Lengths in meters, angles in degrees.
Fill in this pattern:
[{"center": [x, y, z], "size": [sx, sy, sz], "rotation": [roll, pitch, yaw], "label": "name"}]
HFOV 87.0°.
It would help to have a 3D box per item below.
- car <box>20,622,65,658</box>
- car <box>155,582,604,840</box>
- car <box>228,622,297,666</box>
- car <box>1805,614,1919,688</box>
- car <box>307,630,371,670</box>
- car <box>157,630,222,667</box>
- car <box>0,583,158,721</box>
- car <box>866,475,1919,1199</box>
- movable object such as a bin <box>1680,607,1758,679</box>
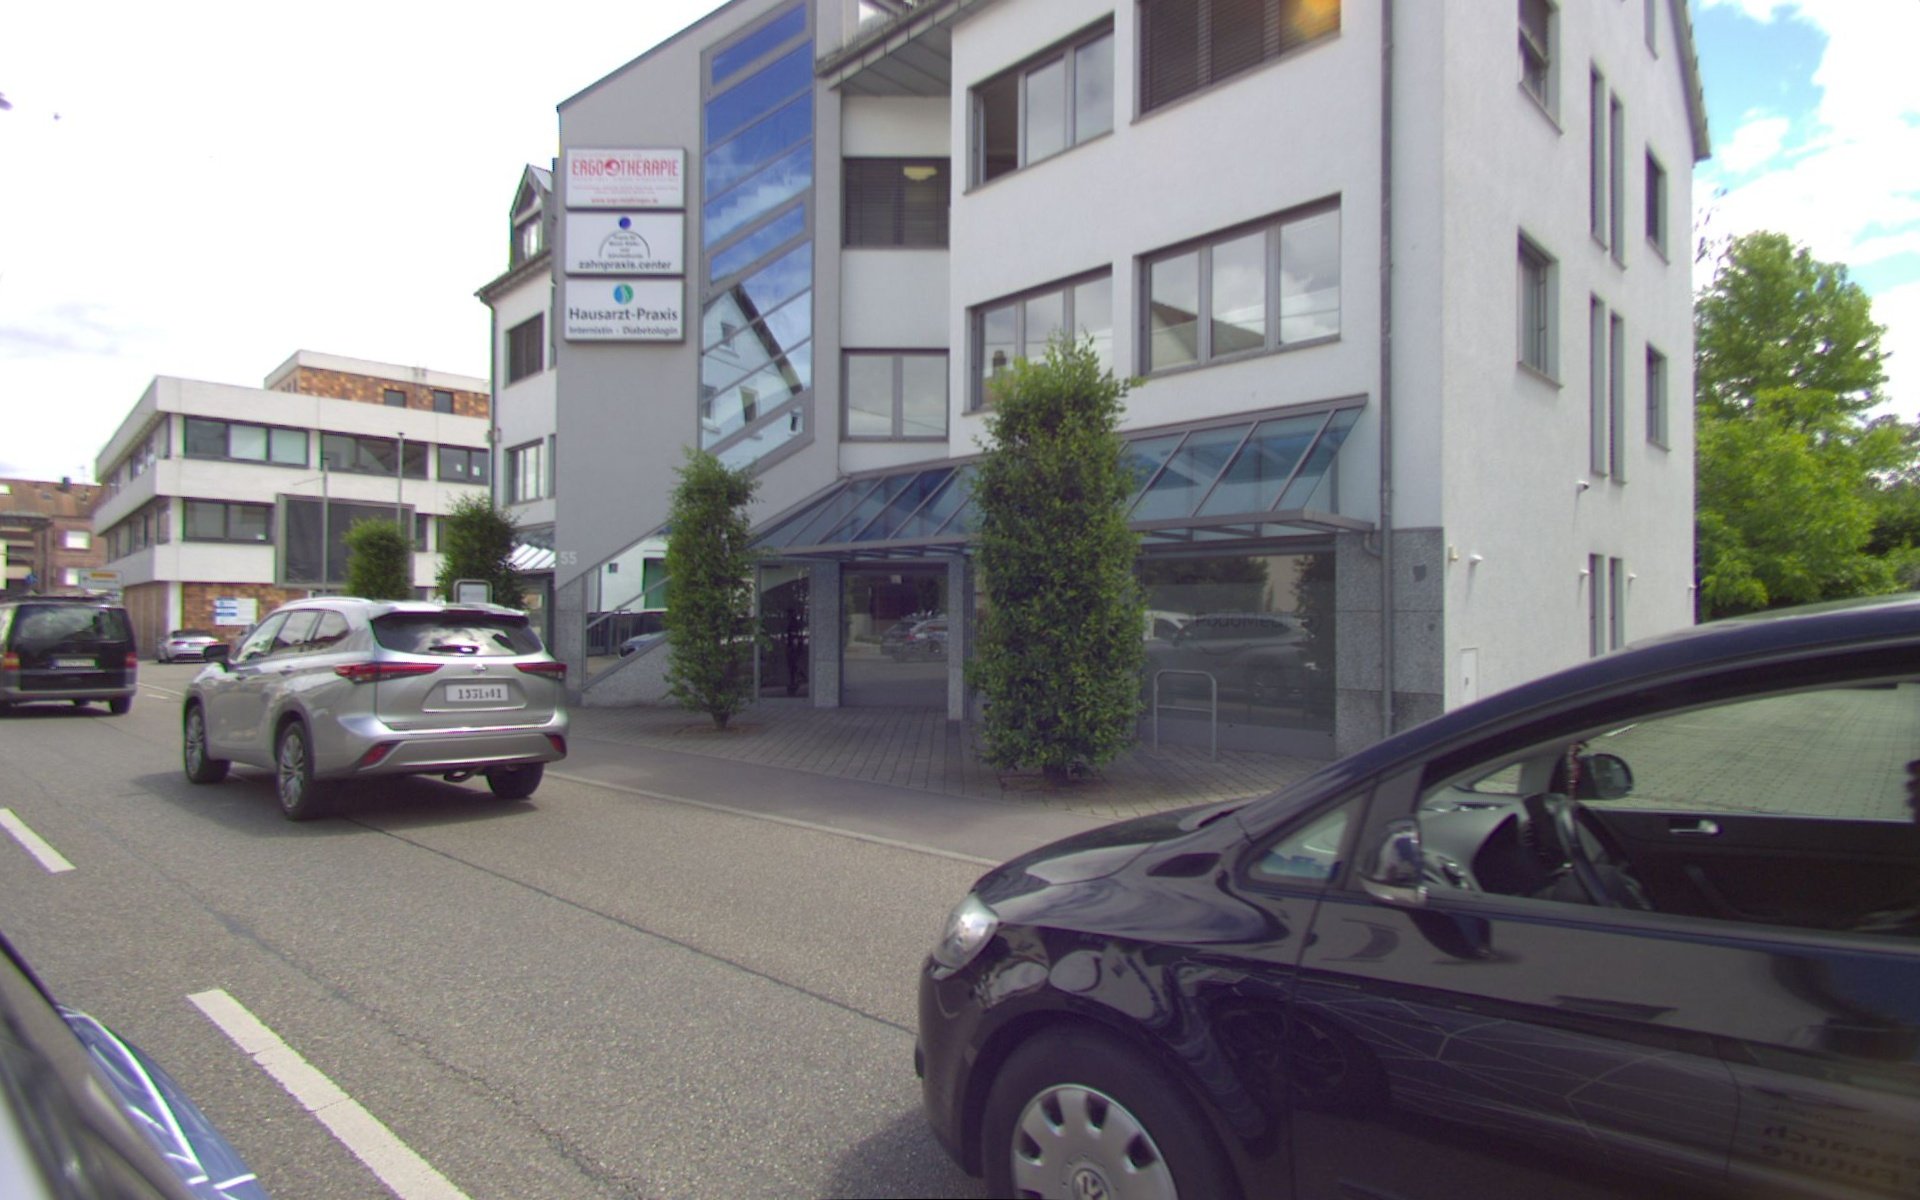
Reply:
[{"center": [-48.676, 2.083, 53.726], "size": [1.677, 1.790, 4.467], "rotation": [0, -1, -42], "label": "car"}, {"center": [-5.444, 0.841, 9.193], "size": [4.792, 1.751, 1.966], "rotation": [-1, -4, 40], "label": "car"}, {"center": [-29.655, 1.848, 42.977], "size": [1.870, 1.710, 3.806], "rotation": [4, -3, -42], "label": "car"}, {"center": [20.165, 1.063, 22.429], "size": [3.939, 1.453, 1.722], "rotation": [0, -1, -43], "label": "car"}, {"center": [-27.800, 2.197, 45.286], "size": [1.625, 1.620, 3.844], "rotation": [0, -1, -45], "label": "car"}, {"center": [-31.522, 1.934, 41.365], "size": [1.798, 1.338, 4.241], "rotation": [0, -1, -42], "label": "car"}, {"center": [-16.483, 0.902, 18.313], "size": [4.878, 2.168, 2.089], "rotation": [-1, -3, 40], "label": "car"}, {"center": [1.902, 0.685, 1.712], "size": [4.035, 1.596, 1.813], "rotation": [-1, -4, 41], "label": "car"}, {"center": [19.134, 1.063, 25.512], "size": [1.507, 1.744, 1.073], "rotation": [-1, -1, 40], "label": "movable object such as a bin"}]
